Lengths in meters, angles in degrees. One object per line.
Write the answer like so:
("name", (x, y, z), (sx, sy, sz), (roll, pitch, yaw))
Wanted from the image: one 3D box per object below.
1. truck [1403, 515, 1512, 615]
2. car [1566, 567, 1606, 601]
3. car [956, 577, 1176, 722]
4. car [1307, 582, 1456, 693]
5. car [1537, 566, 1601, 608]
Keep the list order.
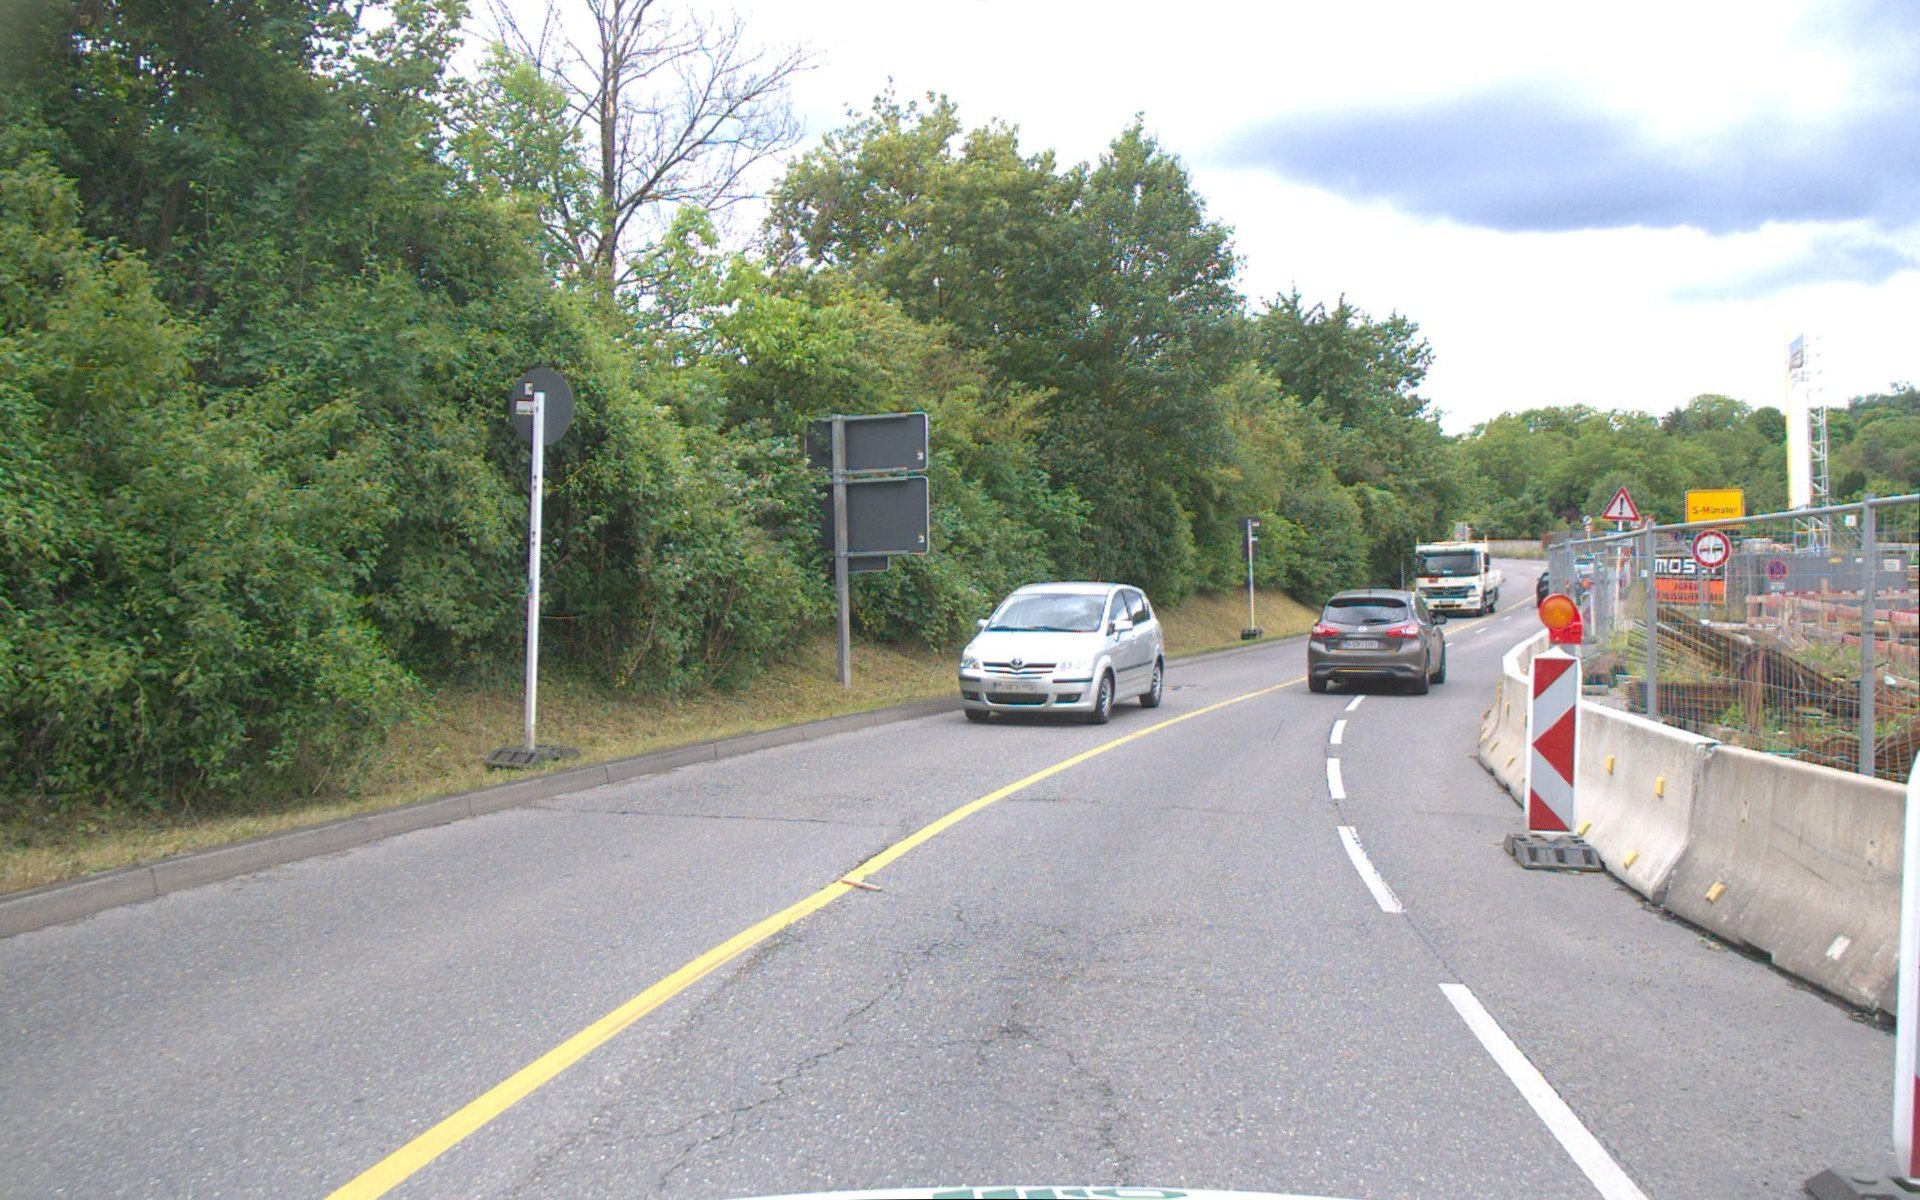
("truck", (18.555, -1.325, 61.324), (2.763, 3.394, 8.378), (-2, 1, 24))
("car", (32.759, -0.809, 86.505), (1.677, 1.704, 3.998), (-2, -1, 23))
("car", (1.427, 0.544, 20.484), (1.622, 1.579, 4.188), (1, 0, 19))
("car", (6.643, 0.535, 25.804), (1.761, 1.579, 4.000), (1, 0, 21))
("car", (23.827, -0.505, 64.666), (1.785, 1.579, 3.782), (0, 0, 29))
